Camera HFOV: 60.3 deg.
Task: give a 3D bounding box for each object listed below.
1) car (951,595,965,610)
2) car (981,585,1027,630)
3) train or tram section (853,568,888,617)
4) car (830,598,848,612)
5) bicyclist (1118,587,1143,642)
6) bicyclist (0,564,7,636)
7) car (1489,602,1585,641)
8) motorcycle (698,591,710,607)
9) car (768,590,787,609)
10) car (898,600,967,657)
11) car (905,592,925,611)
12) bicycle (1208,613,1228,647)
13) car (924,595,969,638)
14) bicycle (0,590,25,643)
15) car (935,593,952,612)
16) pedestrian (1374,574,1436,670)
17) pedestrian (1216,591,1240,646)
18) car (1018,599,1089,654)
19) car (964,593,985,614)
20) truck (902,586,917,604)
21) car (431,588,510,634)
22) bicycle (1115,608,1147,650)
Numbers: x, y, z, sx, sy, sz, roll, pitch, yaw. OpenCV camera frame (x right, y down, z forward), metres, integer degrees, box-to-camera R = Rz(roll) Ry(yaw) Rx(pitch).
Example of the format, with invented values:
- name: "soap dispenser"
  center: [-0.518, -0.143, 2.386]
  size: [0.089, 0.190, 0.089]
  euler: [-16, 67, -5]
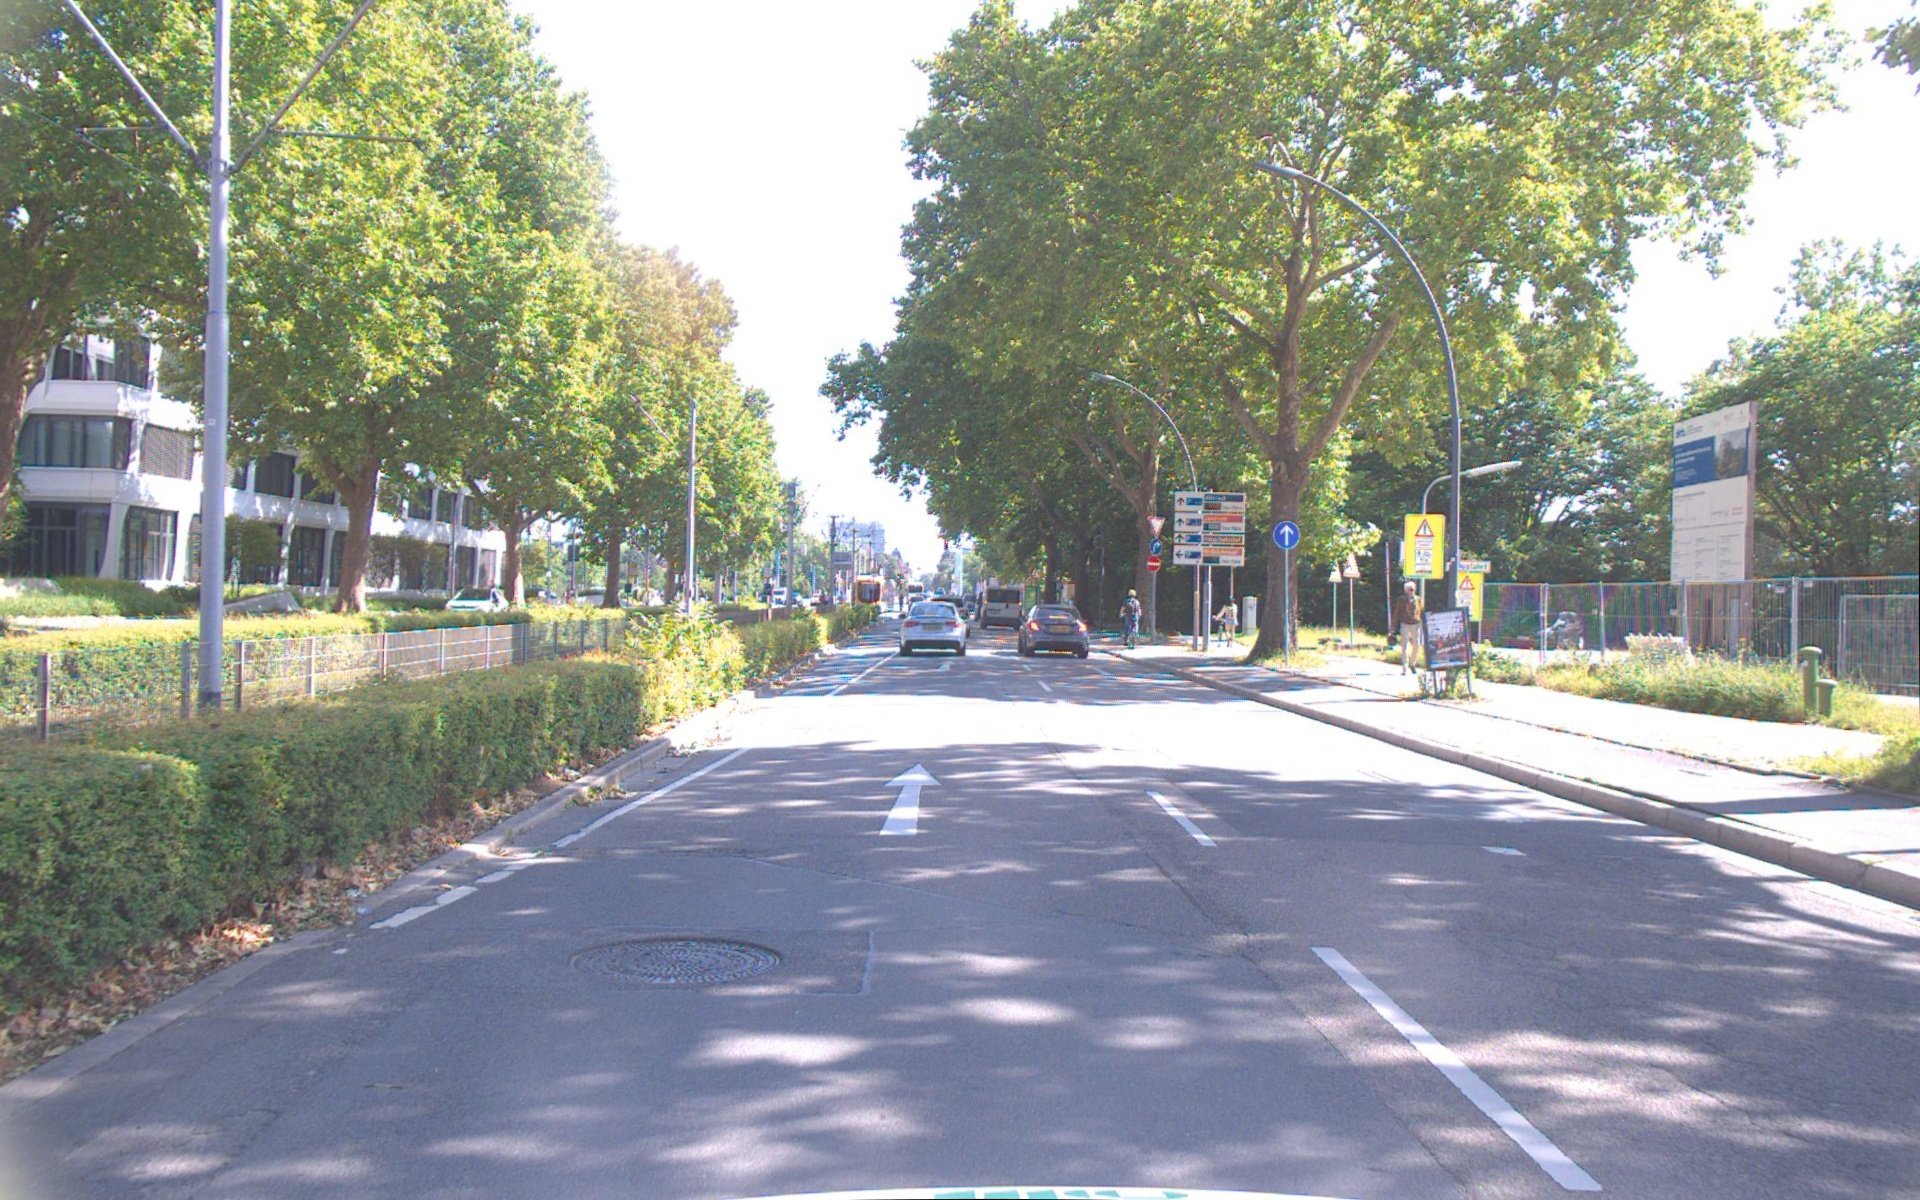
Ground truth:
- name: "car"
  center: [-0.243, 0.346, 214.797]
  size: [1.694, 1.935, 3.999]
  euler: [2, 0, 0]
- name: "car"
  center: [2.265, 0.377, 86.115]
  size: [2.184, 2.250, 4.161]
  euler: [2, 0, 0]
- name: "train or tram section"
  center: [-7.728, -0.631, 143.535]
  size: [2.563, 4.085, 7.748]
  euler: [2, 0, 0]
- name: "car"
  center: [-15.666, 0.593, 213.665]
  size: [1.953, 1.764, 4.000]
  euler: [2, 0, 0]
- name: "bicyclist"
  center: [5.303, 0.449, 51.584]
  size: [0.621, 1.676, 0.979]
  euler: [-1, 1, -2]
- name: "bicyclist"
  center: [-21.144, 0.001, 35.772]
  size: [0.641, 1.561, 0.641]
  euler: [1, 0, 0]
- name: "car"
  center: [23.024, 0.853, 65.974]
  size: [3.954, 1.479, 1.663]
  euler: [1, 0, -35]
- name: "motorcycle"
  center: [-19.644, -0.072, 127.120]
  size: [0.619, 1.195, 1.999]
  euler: [1, 0, -1]
- name: "car"
  center: [-24.032, -0.110, 217.795]
  size: [2.071, 2.424, 4.000]
  euler: [1, 0, 0]
- name: "car"
  center: [-0.730, 0.746, 45.134]
  size: [1.748, 1.445, 3.884]
  euler: [2, 0, 0]
- name: "car"
  center: [-4.136, 0.134, 153.252]
  size: [1.694, 1.659, 3.999]
  euler: [2, 0, 0]
- name: "bicycle"
  center: [8.582, 0.995, 54.985]
  size: [0.342, 1.101, 1.699]
  euler: [1, 0, -1]
- name: "car"
  center: [-0.533, 0.641, 66.216]
  size: [1.694, 1.633, 3.884]
  euler: [2, 0, 0]
- name: "bicycle"
  center: [-21.146, 0.350, 35.808]
  size: [0.650, 1.144, 2.030]
  euler: [2, 0, 0]
- name: "car"
  center: [-1.639, 0.249, 167.535]
  size: [1.694, 1.935, 3.999]
  euler: [2, 0, 0]
- name: "pedestrian"
  center: [9.142, 0.449, 34.010]
  size: [0.919, 1.925, 1.151]
  euler: [1, 0, -1]
- name: "pedestrian"
  center: [8.939, 0.609, 55.153]
  size: [0.619, 1.816, 0.874]
  euler: [1, 0, -1]
- name: "car"
  center: [2.605, 0.727, 46.850]
  size: [1.746, 1.445, 3.999]
  euler: [2, 0, 0]
- name: "car"
  center: [1.417, 0.361, 167.995]
  size: [2.030, 2.034, 4.057]
  euler: [2, 0, 0]
- name: "truck"
  center: [-7.900, -0.757, 259.803]
  size: [1.953, 2.839, 8.518]
  euler: [2, 0, 0]
- name: "car"
  center: [-18.001, 0.384, 60.971]
  size: [1.721, 1.597, 4.018]
  euler: [2, 0, -1]
- name: "bicycle"
  center: [5.312, 0.883, 51.515]
  size: [0.700, 1.168, 2.178]
  euler: [-1, 2, -1]
